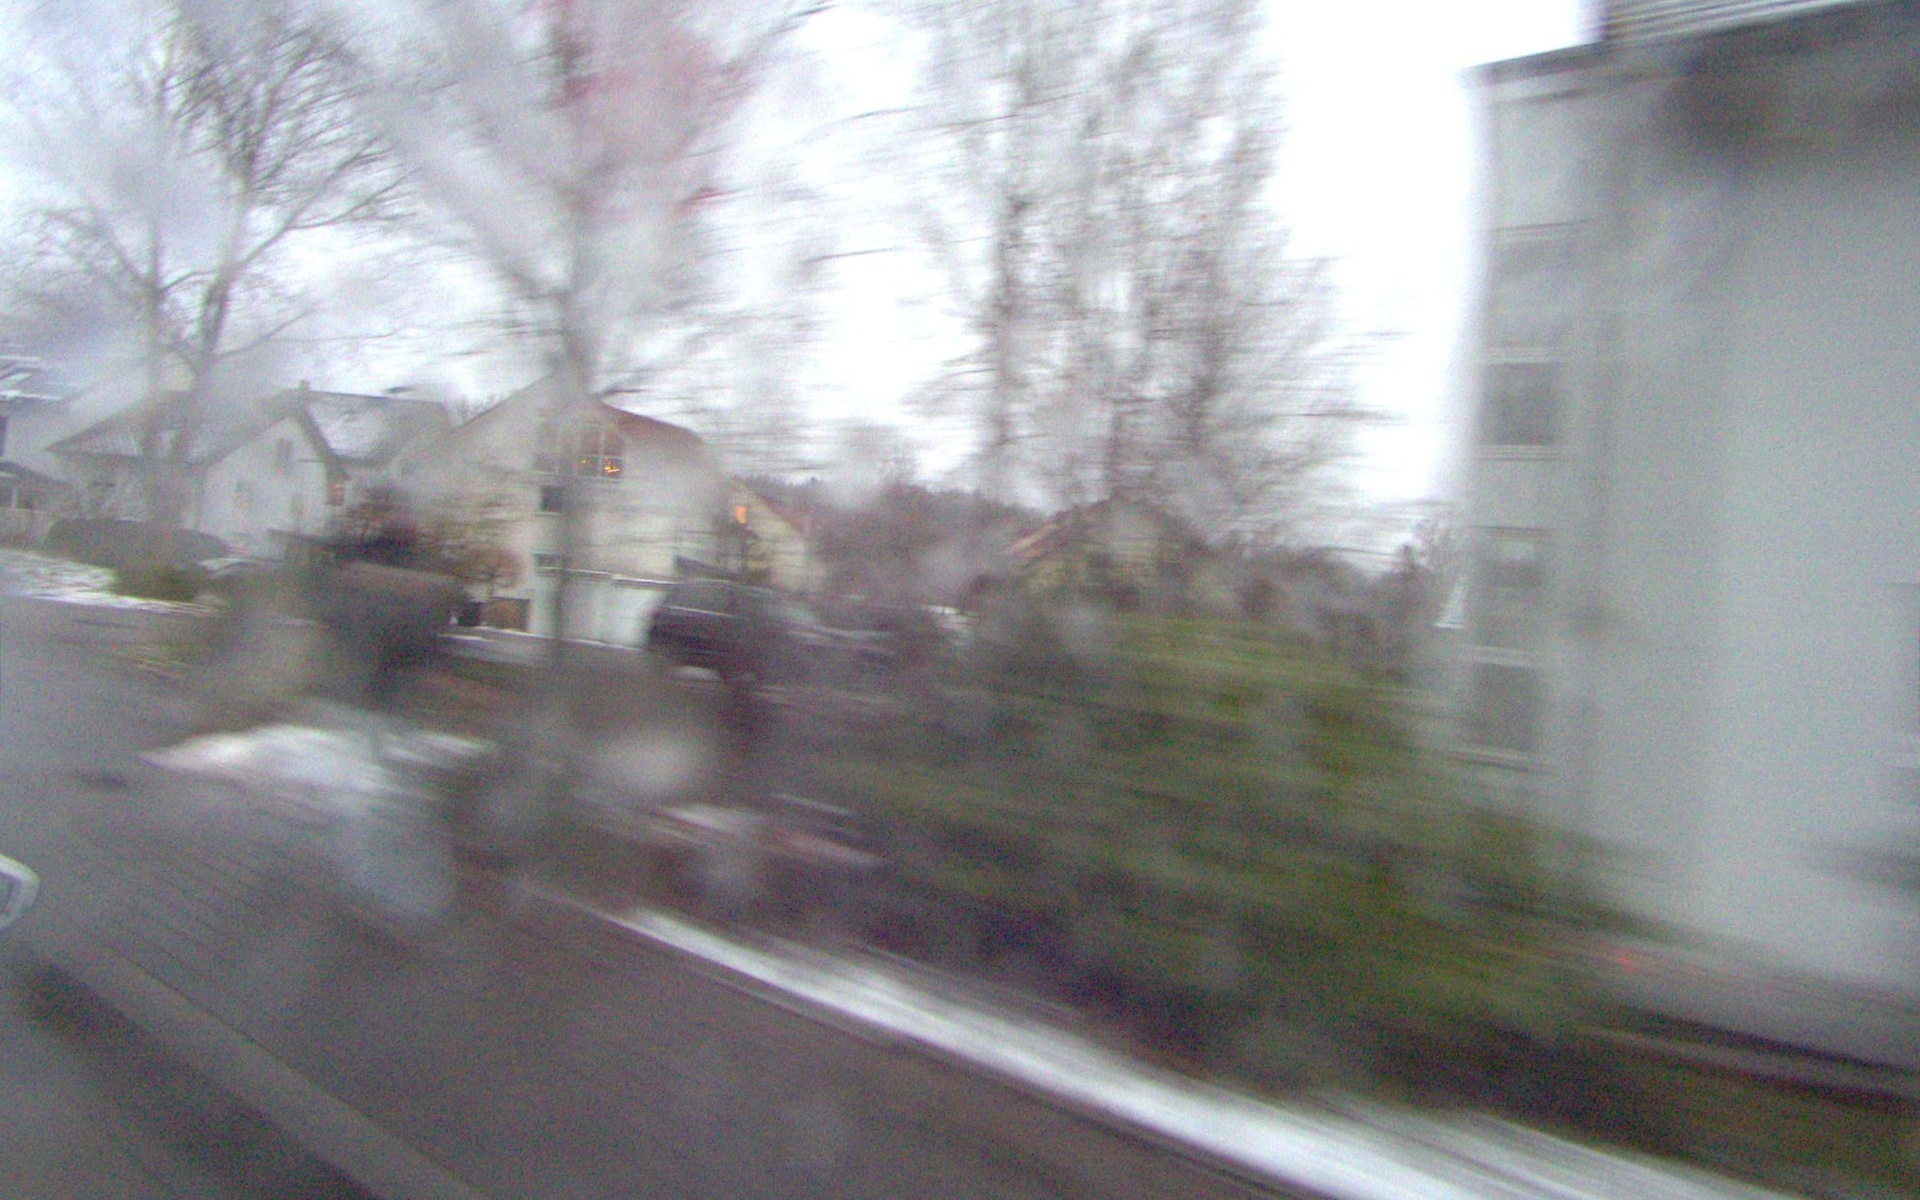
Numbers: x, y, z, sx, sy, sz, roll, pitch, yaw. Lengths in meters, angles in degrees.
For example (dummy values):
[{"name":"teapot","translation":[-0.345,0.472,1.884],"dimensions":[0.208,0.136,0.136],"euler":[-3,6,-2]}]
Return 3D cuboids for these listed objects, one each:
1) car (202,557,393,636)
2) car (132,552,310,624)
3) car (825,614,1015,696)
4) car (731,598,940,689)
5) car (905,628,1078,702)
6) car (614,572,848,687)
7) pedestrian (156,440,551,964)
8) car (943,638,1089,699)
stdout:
[{"name":"car","translation":[-17.722,-0.054,27.090],"dimensions":[1.773,1.615,3.791],"euler":[7,-2,29]},{"name":"car","translation":[-22.048,-0.319,30.164],"dimensions":[1.773,1.615,3.791],"euler":[7,-2,29]},{"name":"car","translation":[-0.872,1.159,21.469],"dimensions":[3.679,1.489,1.641],"euler":[2,-4,31]},{"name":"car","translation":[-2.411,0.815,19.290],"dimensions":[3.679,1.489,1.641],"euler":[2,-4,31]},{"name":"car","translation":[0.712,1.516,23.642],"dimensions":[3.679,1.489,1.641],"euler":[2,-4,31]},{"name":"car","translation":[-3.925,0.485,17.132],"dimensions":[3.679,1.702,1.641],"euler":[2,-4,31]},{"name":"pedestrian","translation":[-2.266,0.321,3.786],"dimensions":[0.954,1.674,0.745],"euler":[7,-1,30]},{"name":"car","translation":[1.395,1.728,25.521],"dimensions":[3.345,1.292,1.471],"euler":[2,-4,31]}]
